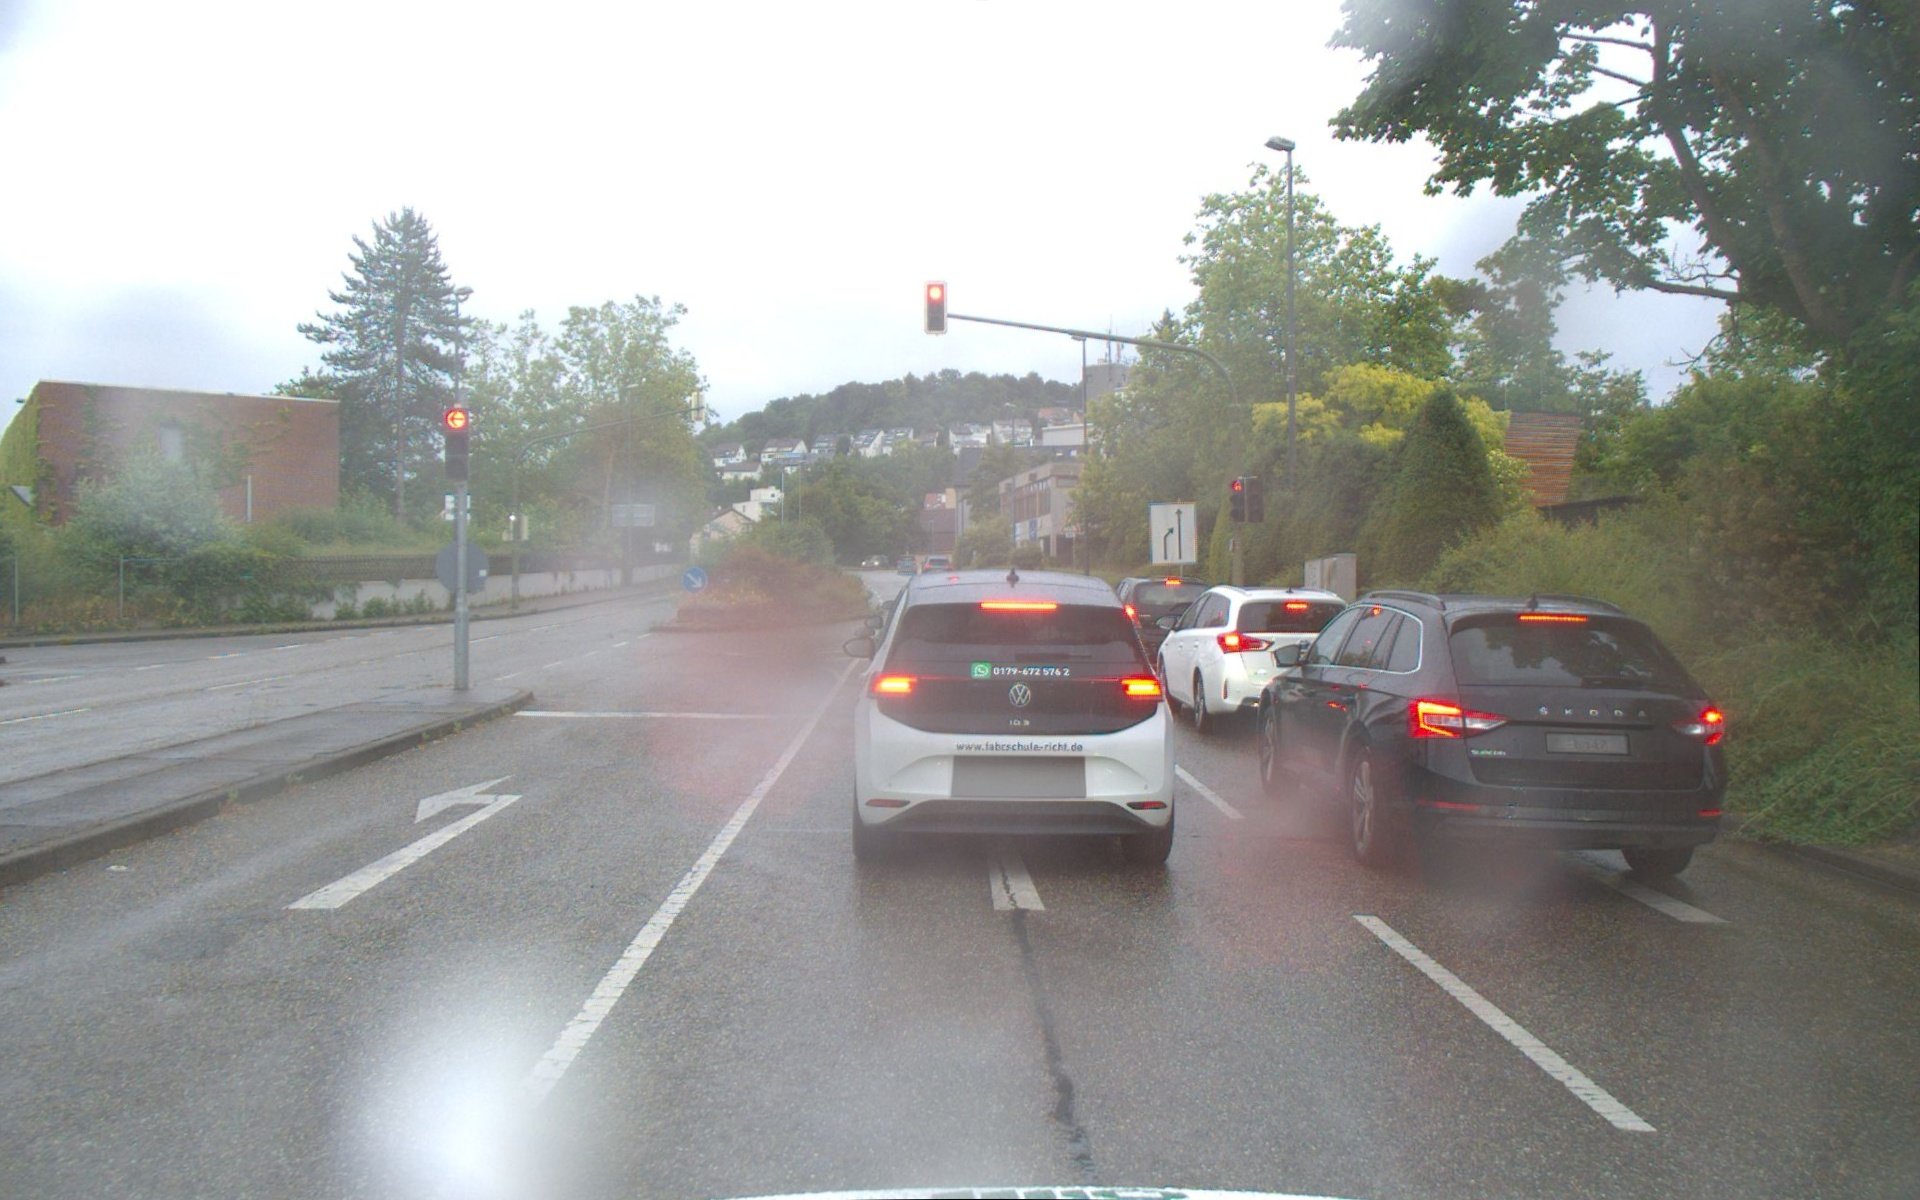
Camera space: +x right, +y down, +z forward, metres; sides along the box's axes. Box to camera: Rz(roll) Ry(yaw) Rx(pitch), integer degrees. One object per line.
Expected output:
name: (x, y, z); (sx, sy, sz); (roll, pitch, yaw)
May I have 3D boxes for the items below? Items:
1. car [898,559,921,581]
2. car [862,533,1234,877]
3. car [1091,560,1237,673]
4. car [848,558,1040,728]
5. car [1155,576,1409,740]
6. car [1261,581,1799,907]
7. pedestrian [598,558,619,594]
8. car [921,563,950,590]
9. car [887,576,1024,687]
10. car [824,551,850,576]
car: (-4.031, -2.407, 132.818); (1.739, 1.608, 4.000); (-2, 0, -1)
car: (0.385, 0.480, 10.463); (1.800, 1.657, 4.615); (1, 1, -1)
car: (3.120, 0.230, 25.972); (1.739, 1.609, 4.000); (1, 0, -1)
car: (-0.197, 0.380, 17.903); (1.800, 1.582, 4.174); (1, 1, -1)
car: (3.292, 0.522, 17.691); (1.800, 1.492, 4.116); (1, 1, -1)
car: (3.122, 0.664, 10.088); (1.800, 1.492, 4.350); (1, 1, 1)
pedestrian: (-15.974, -1.075, 75.244); (0.744, 1.595, 0.825); (-2, 0, -1)
car: (-1.522, -1.478, 103.510); (1.739, 1.608, 4.000); (-2, 0, -1)
car: (-0.103, 0.392, 24.048); (1.800, 1.424, 3.830); (1, 1, -1)
car: (-10.588, -3.158, 142.785); (1.953, 2.049, 3.999); (1, 0, -1)
